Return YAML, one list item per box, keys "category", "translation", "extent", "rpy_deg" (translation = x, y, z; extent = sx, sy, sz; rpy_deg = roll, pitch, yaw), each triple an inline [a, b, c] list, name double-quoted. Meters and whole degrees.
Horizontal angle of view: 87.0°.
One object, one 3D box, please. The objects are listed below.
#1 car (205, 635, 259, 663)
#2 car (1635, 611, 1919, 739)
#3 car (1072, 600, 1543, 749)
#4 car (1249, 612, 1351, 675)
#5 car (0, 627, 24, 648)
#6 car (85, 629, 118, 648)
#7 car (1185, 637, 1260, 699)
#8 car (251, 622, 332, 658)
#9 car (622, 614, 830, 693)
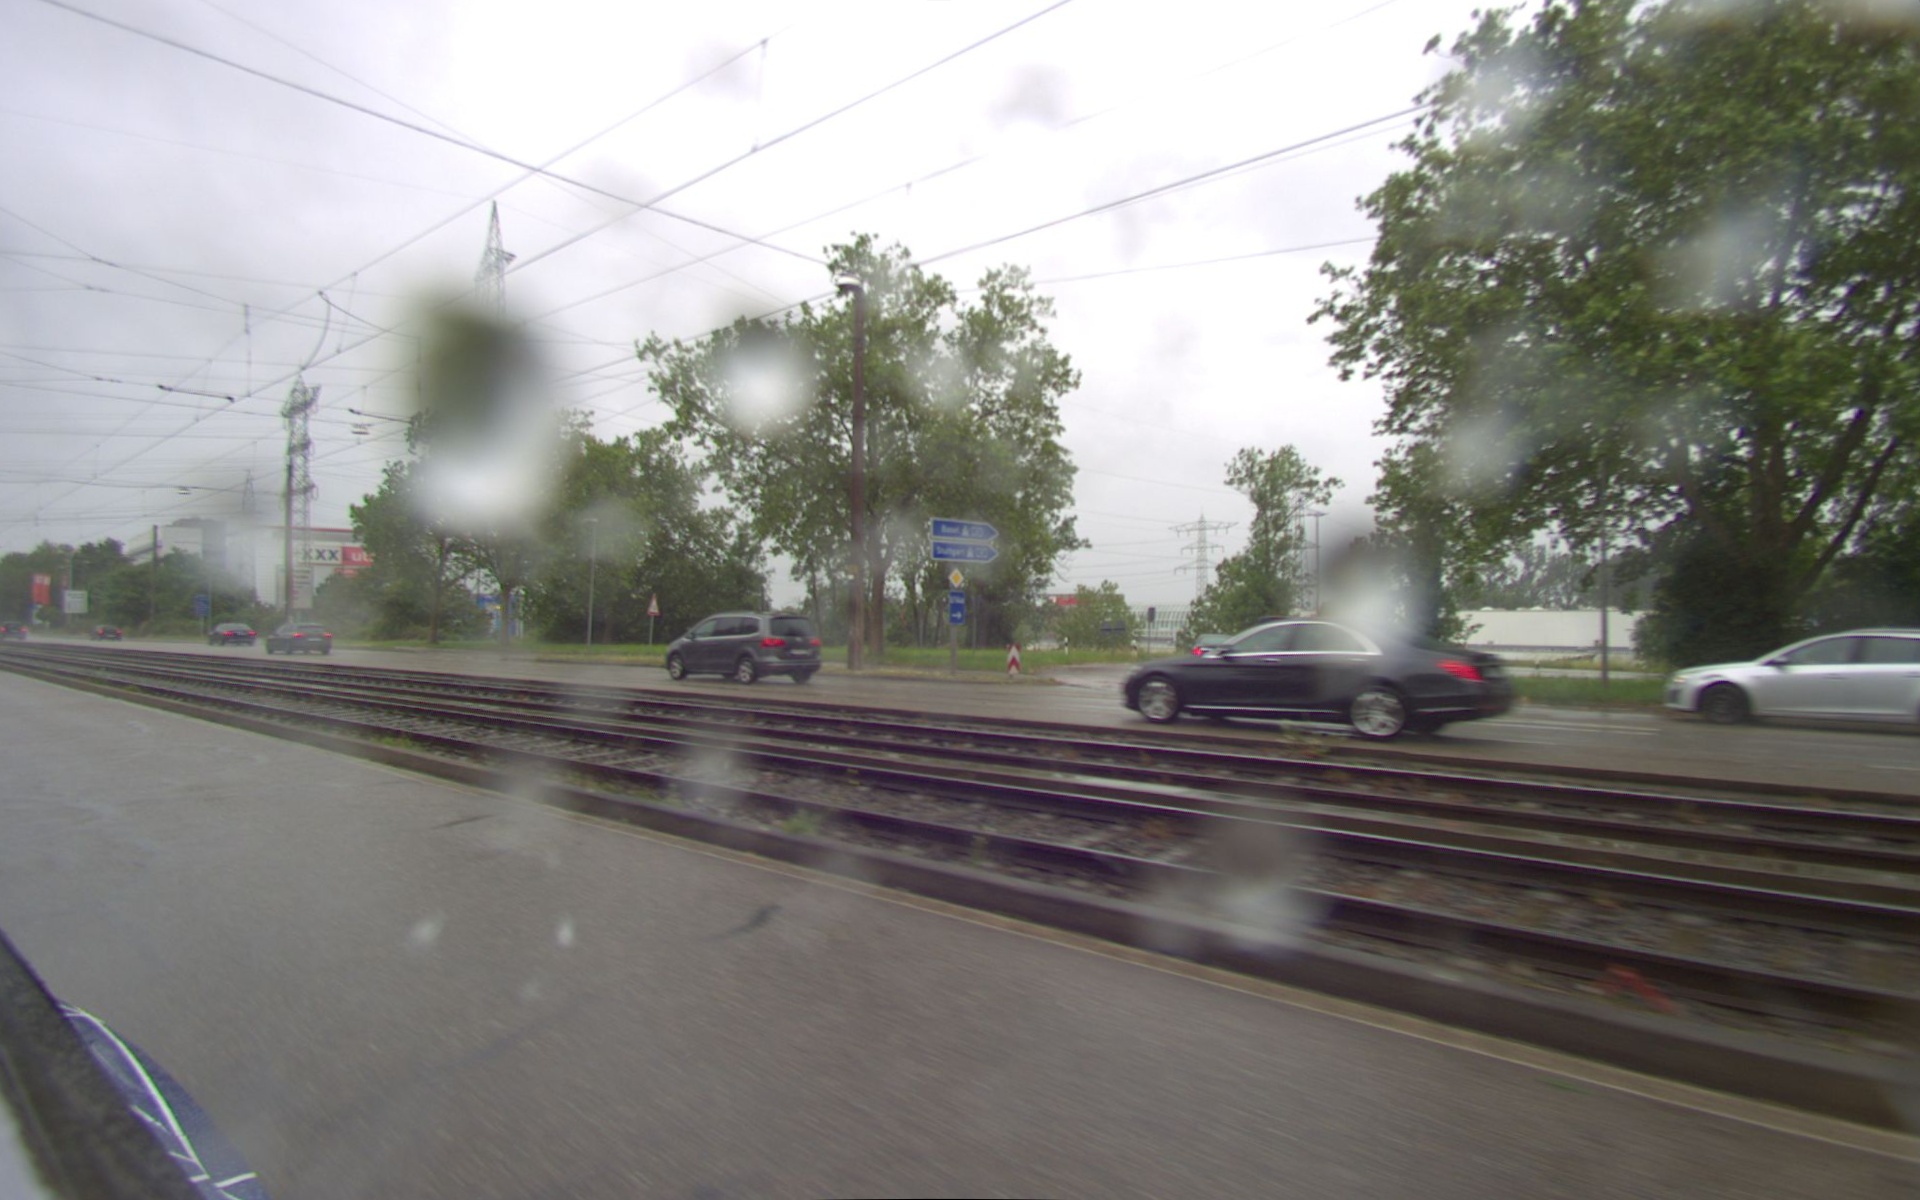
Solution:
- category: "car"
  translation: [-48.599, 3.276, 67.564]
  extent: [4.646, 1.699, 1.823]
  rpy_deg: [-3, -1, 40]
- category: "car"
  translation: [13.245, 1.058, 15.011]
  extent: [1.797, 1.719, 5.027]
  rpy_deg: [-1, -1, -41]
- category: "car"
  translation: [4.364, 0.908, 13.518]
  extent: [5.678, 1.597, 1.757]
  rpy_deg: [-3, -1, 41]
- category: "car"
  translation: [14.741, 1.802, 43.676]
  extent: [2.336, 2.444, 5.774]
  rpy_deg: [-3, -1, 38]
- category: "car"
  translation: [-87.780, 3.467, 93.091]
  extent: [4.999, 1.823, 1.868]
  rpy_deg: [-3, -1, 40]
- category: "car"
  translation: [-77.432, 3.482, 91.251]
  extent: [3.997, 1.564, 1.672]
  rpy_deg: [-3, -1, 40]
- category: "car"
  translation: [9.069, 2.258, 34.673]
  extent: [2.073, 1.812, 4.733]
  rpy_deg: [-2, -1, 19]
- category: "car"
  translation: [-31.527, 1.916, 47.668]
  extent: [5.308, 1.561, 1.772]
  rpy_deg: [-3, -1, 40]
- category: "car"
  translation: [-5.972, 1.317, 25.253]
  extent: [6.101, 1.719, 1.801]
  rpy_deg: [-3, -1, 41]
